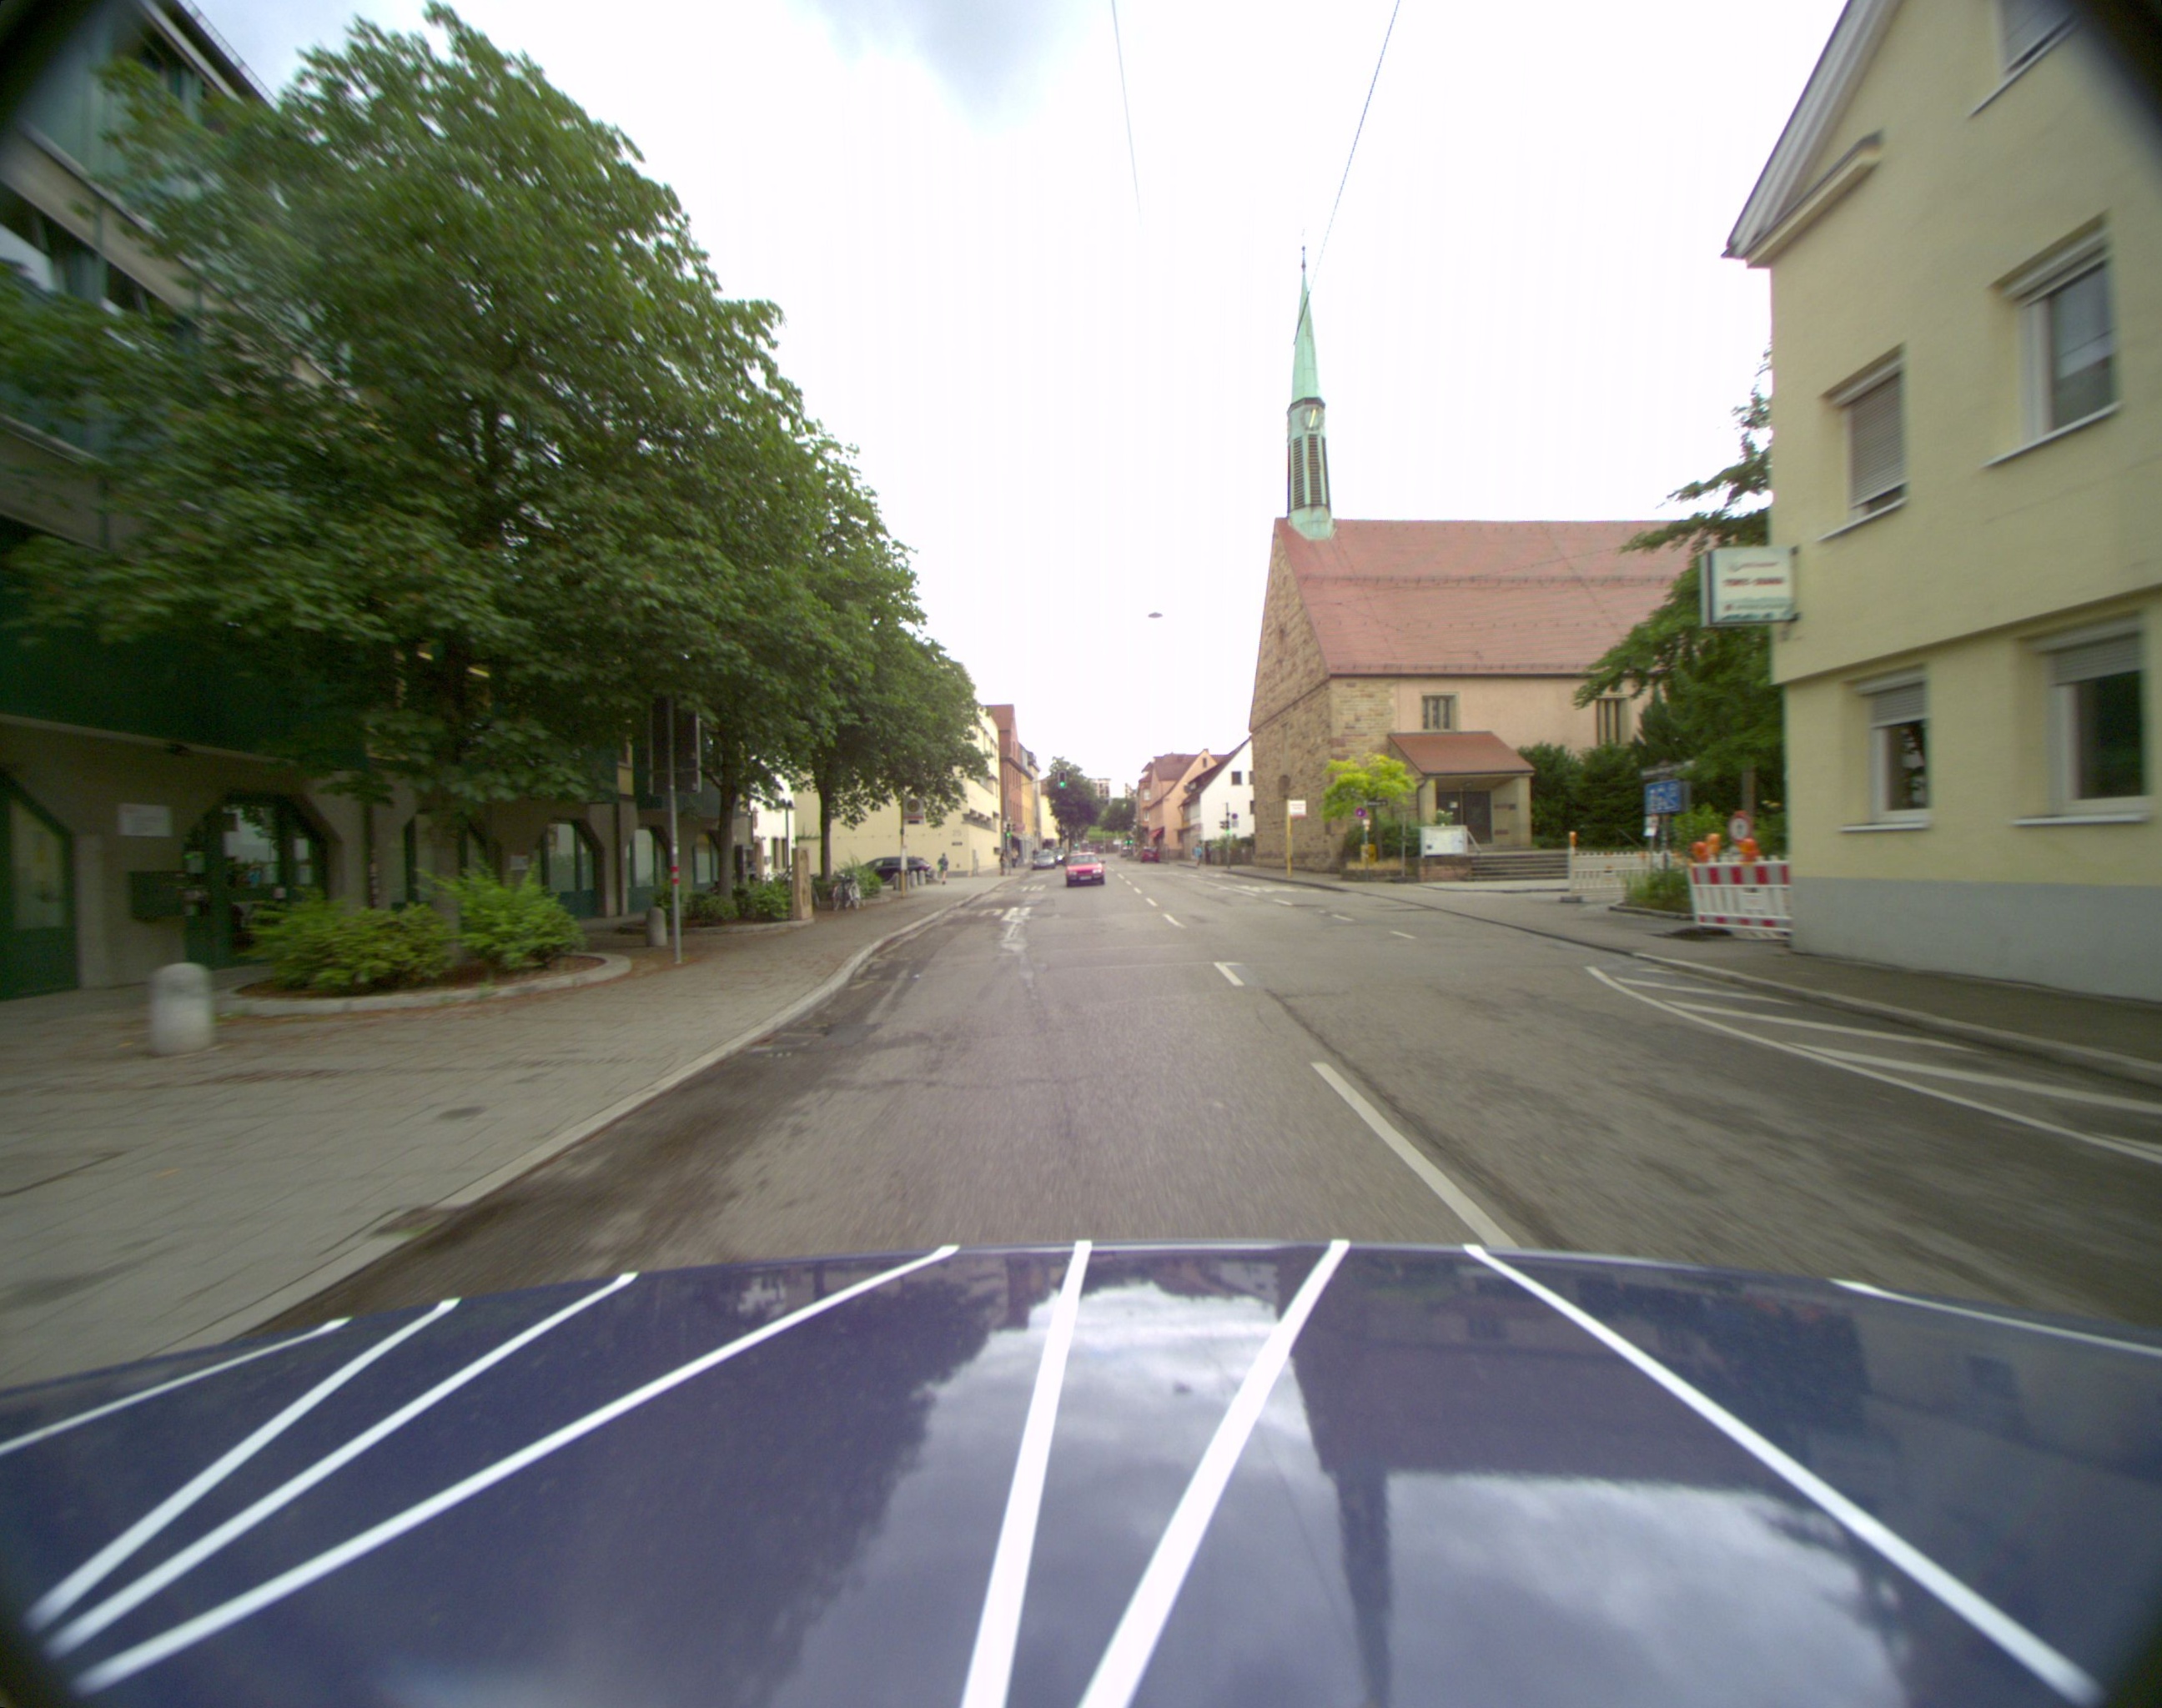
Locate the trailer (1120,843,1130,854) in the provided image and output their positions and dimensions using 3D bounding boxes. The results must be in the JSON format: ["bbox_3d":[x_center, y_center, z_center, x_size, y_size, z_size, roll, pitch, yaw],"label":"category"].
[{"bbox_3d":[11.539,-1.356,200.102,2.450,2.788,6.304,0,1,4],"label":"trailer"}]

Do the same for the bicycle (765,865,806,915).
[{"bbox_3d":[-8.387,0.997,21.629,0.333,1.293,1.958,-2,1,0],"label":"bicycle"}]

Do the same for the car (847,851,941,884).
[{"bbox_3d":[-9.779,0.697,39.999,4.524,1.565,1.851,-1,2,-6],"label":"car"}]

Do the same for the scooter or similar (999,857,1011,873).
[{"bbox_3d":[-4.742,0.709,47.291,0.663,0.940,0.819,1,3,-10],"label":"scooter or similar"}]

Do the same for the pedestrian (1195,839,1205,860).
[{"bbox_3d":[8.962,-0.313,57.150,0.572,1.545,0.697,-3,1,1],"label":"pedestrian"}]

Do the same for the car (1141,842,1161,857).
[{"bbox_3d":[7.255,-0.494,79.117,1.707,1.565,4.450,1,1,0],"label":"car"}]

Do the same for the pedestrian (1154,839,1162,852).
[{"bbox_3d":[9.514,-1.037,93.903,0.732,1.619,0.758,-3,2,-2],"label":"pedestrian"}]

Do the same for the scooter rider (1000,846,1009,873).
[{"bbox_3d":[-4.776,0.345,47.224,0.454,1.623,0.504,1,3,-14],"label":"scooter rider"}]

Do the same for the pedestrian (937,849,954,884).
[{"bbox_3d":[-6.897,0.628,38.710,0.603,1.706,0.860,-1,1,8],"label":"pedestrian"}]

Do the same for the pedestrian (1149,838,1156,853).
[{"bbox_3d":[8.841,-1.068,94.388,0.740,1.744,0.983,-2,1,2],"label":"pedestrian"}]

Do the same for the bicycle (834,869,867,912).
[{"bbox_3d":[-6.689,1.040,22.143,0.333,1.134,1.958,-2,1,0],"label":"bicycle"}]

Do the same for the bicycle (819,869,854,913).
[{"bbox_3d":[-7.077,1.041,22.037,0.333,1.135,1.958,-2,1,0],"label":"bicycle"}]

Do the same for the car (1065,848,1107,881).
[{"bbox_3d":[0.268,0.430,34.976,1.626,1.387,4.001,-2,0,4],"label":"car"}]

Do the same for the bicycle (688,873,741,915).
[{"bbox_3d":[-10.536,1.119,21.909,0.546,1.063,2.290,-1,1,-4],"label":"bicycle"}]

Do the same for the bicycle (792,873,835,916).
[{"bbox_3d":[-7.648,1.124,21.783,0.546,1.063,2.290,-1,1,-4],"label":"bicycle"}]

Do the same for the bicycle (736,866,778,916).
[{"bbox_3d":[-9.388,1.045,22.100,0.333,1.293,1.958,-2,1,0],"label":"bicycle"}]

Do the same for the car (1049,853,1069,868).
[{"bbox_3d":[-2.229,0.661,77.124,1.755,1.398,4.511,-1,1,2],"label":"car"}]

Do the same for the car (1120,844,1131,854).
[{"bbox_3d":[7.806,-0.885,133.047,1.895,1.702,4.741,0,0,2],"label":"car"}]

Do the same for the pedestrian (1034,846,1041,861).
[{"bbox_3d":[-4.746,-0.034,82.710,0.616,1.643,0.982,1,1,0],"label":"pedestrian"}]

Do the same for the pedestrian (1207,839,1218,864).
[{"bbox_3d":[9.816,-0.181,56.740,0.572,1.837,0.697,-4,1,1],"label":"pedestrian"}]

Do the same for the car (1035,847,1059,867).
[{"bbox_3d":[-2.781,0.240,62.682,1.716,1.551,3.785,-2,1,0],"label":"car"}]

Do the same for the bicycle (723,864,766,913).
[{"bbox_3d":[-9.765,0.980,22.107,0.333,1.293,1.958,-2,1,0],"label":"bicycle"}]

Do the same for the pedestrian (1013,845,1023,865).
[{"bbox_3d":[-5.146,0.073,61.757,0.702,1.639,0.888,0,1,0],"label":"pedestrian"}]
